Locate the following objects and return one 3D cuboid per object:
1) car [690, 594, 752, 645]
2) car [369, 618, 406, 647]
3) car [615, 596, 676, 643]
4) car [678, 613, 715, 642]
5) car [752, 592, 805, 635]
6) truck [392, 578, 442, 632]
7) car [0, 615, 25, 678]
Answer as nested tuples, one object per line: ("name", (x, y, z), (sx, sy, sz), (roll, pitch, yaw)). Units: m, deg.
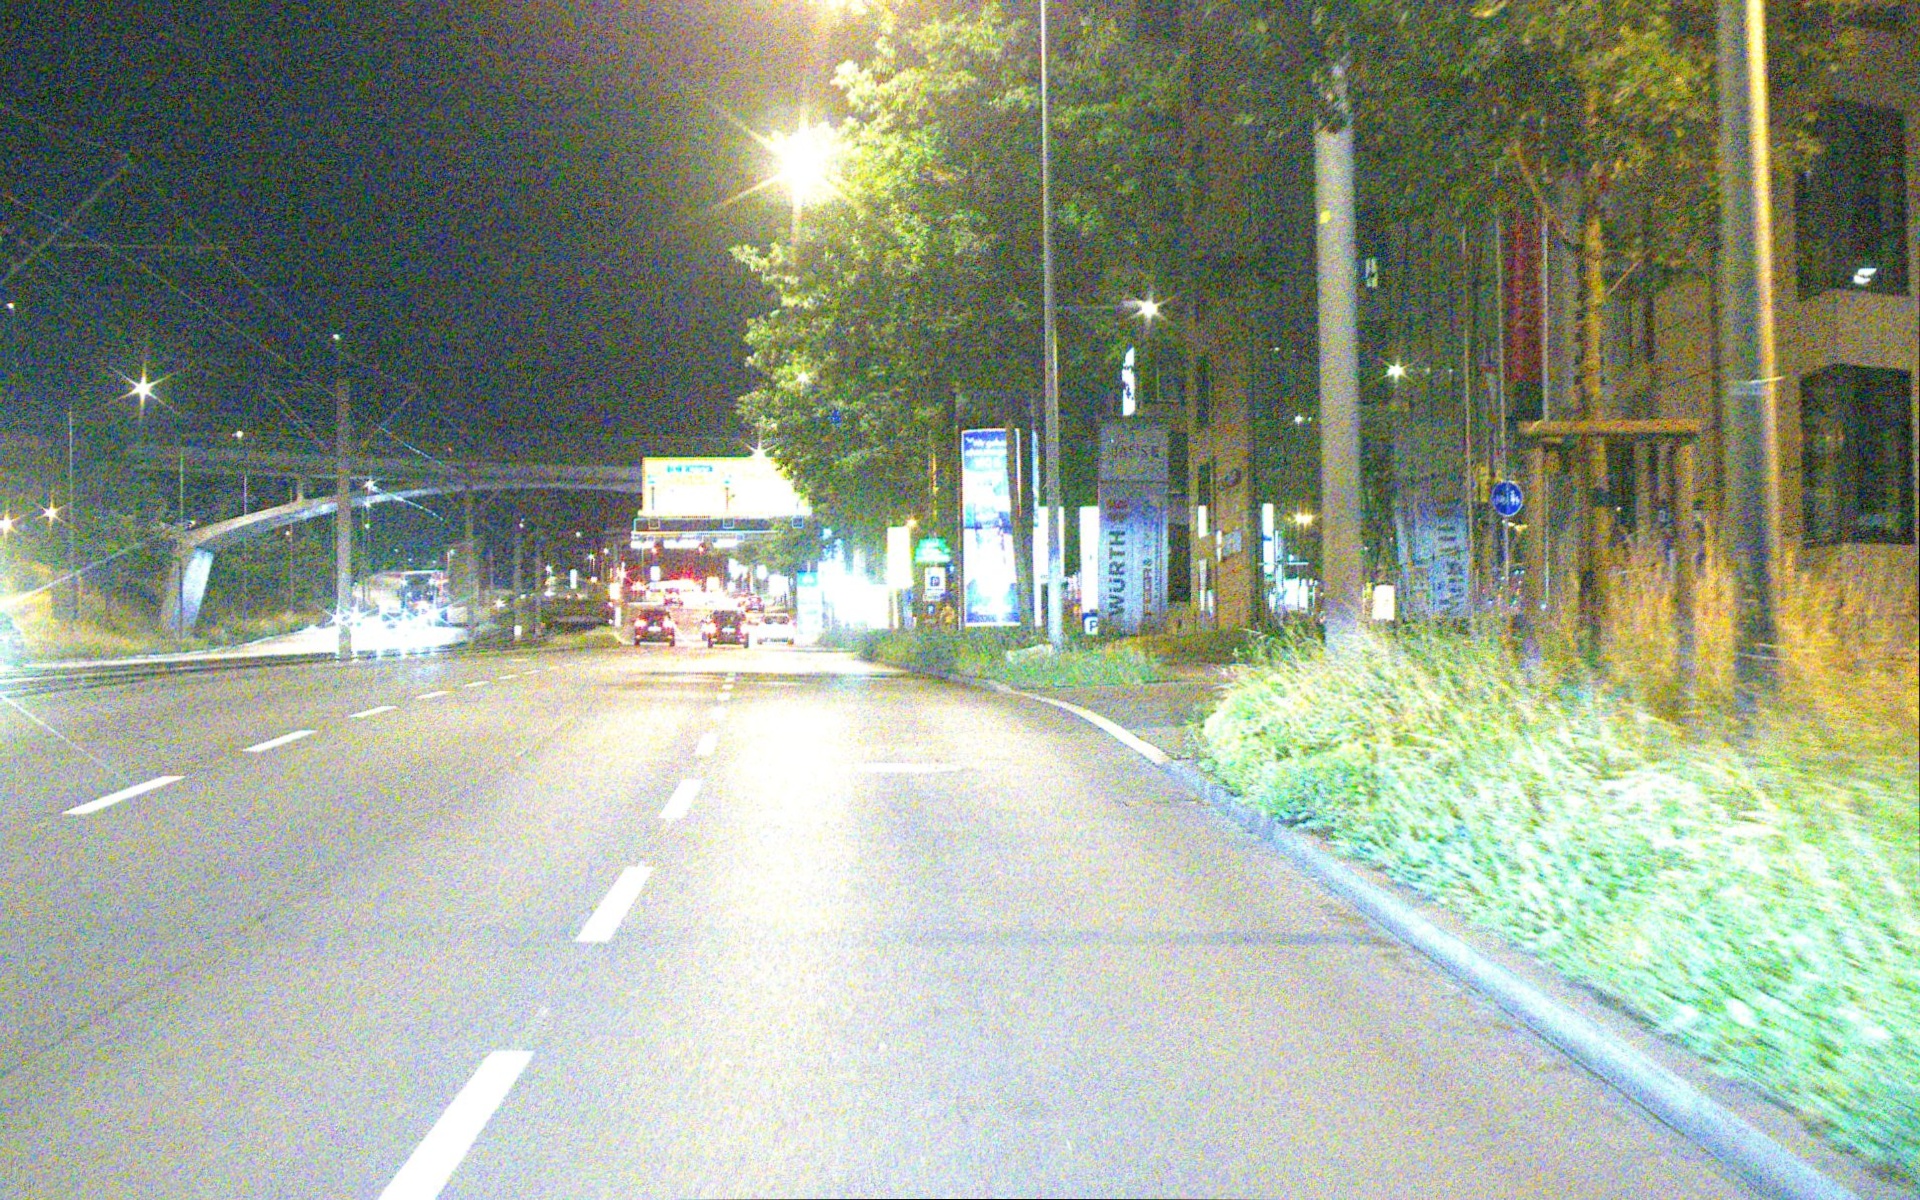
("car", (-10.263, 0.826, 148.070), (2.356, 2.122, 4.826), (0, 0, 0))
("car", (-34.590, 1.961, 207.803), (1.863, 1.744, 3.702), (0, 0, -4))
("car", (-13.901, 0.840, 152.215), (2.262, 2.007, 4.826), (0, 0, 0))
("car", (-14.467, 1.521, 188.858), (1.993, 1.548, 4.000), (0, 0, -3))
("car", (-9.159, 0.675, 173.761), (2.427, 2.106, 4.826), (0, 0, 0))
("truck", (-38.900, 0.316, 246.249), (3.040, 3.806, 4.935), (0, 0, -3))
("car", (-23.110, 1.089, 79.504), (1.866, 1.424, 4.957), (0, 0, -3))
